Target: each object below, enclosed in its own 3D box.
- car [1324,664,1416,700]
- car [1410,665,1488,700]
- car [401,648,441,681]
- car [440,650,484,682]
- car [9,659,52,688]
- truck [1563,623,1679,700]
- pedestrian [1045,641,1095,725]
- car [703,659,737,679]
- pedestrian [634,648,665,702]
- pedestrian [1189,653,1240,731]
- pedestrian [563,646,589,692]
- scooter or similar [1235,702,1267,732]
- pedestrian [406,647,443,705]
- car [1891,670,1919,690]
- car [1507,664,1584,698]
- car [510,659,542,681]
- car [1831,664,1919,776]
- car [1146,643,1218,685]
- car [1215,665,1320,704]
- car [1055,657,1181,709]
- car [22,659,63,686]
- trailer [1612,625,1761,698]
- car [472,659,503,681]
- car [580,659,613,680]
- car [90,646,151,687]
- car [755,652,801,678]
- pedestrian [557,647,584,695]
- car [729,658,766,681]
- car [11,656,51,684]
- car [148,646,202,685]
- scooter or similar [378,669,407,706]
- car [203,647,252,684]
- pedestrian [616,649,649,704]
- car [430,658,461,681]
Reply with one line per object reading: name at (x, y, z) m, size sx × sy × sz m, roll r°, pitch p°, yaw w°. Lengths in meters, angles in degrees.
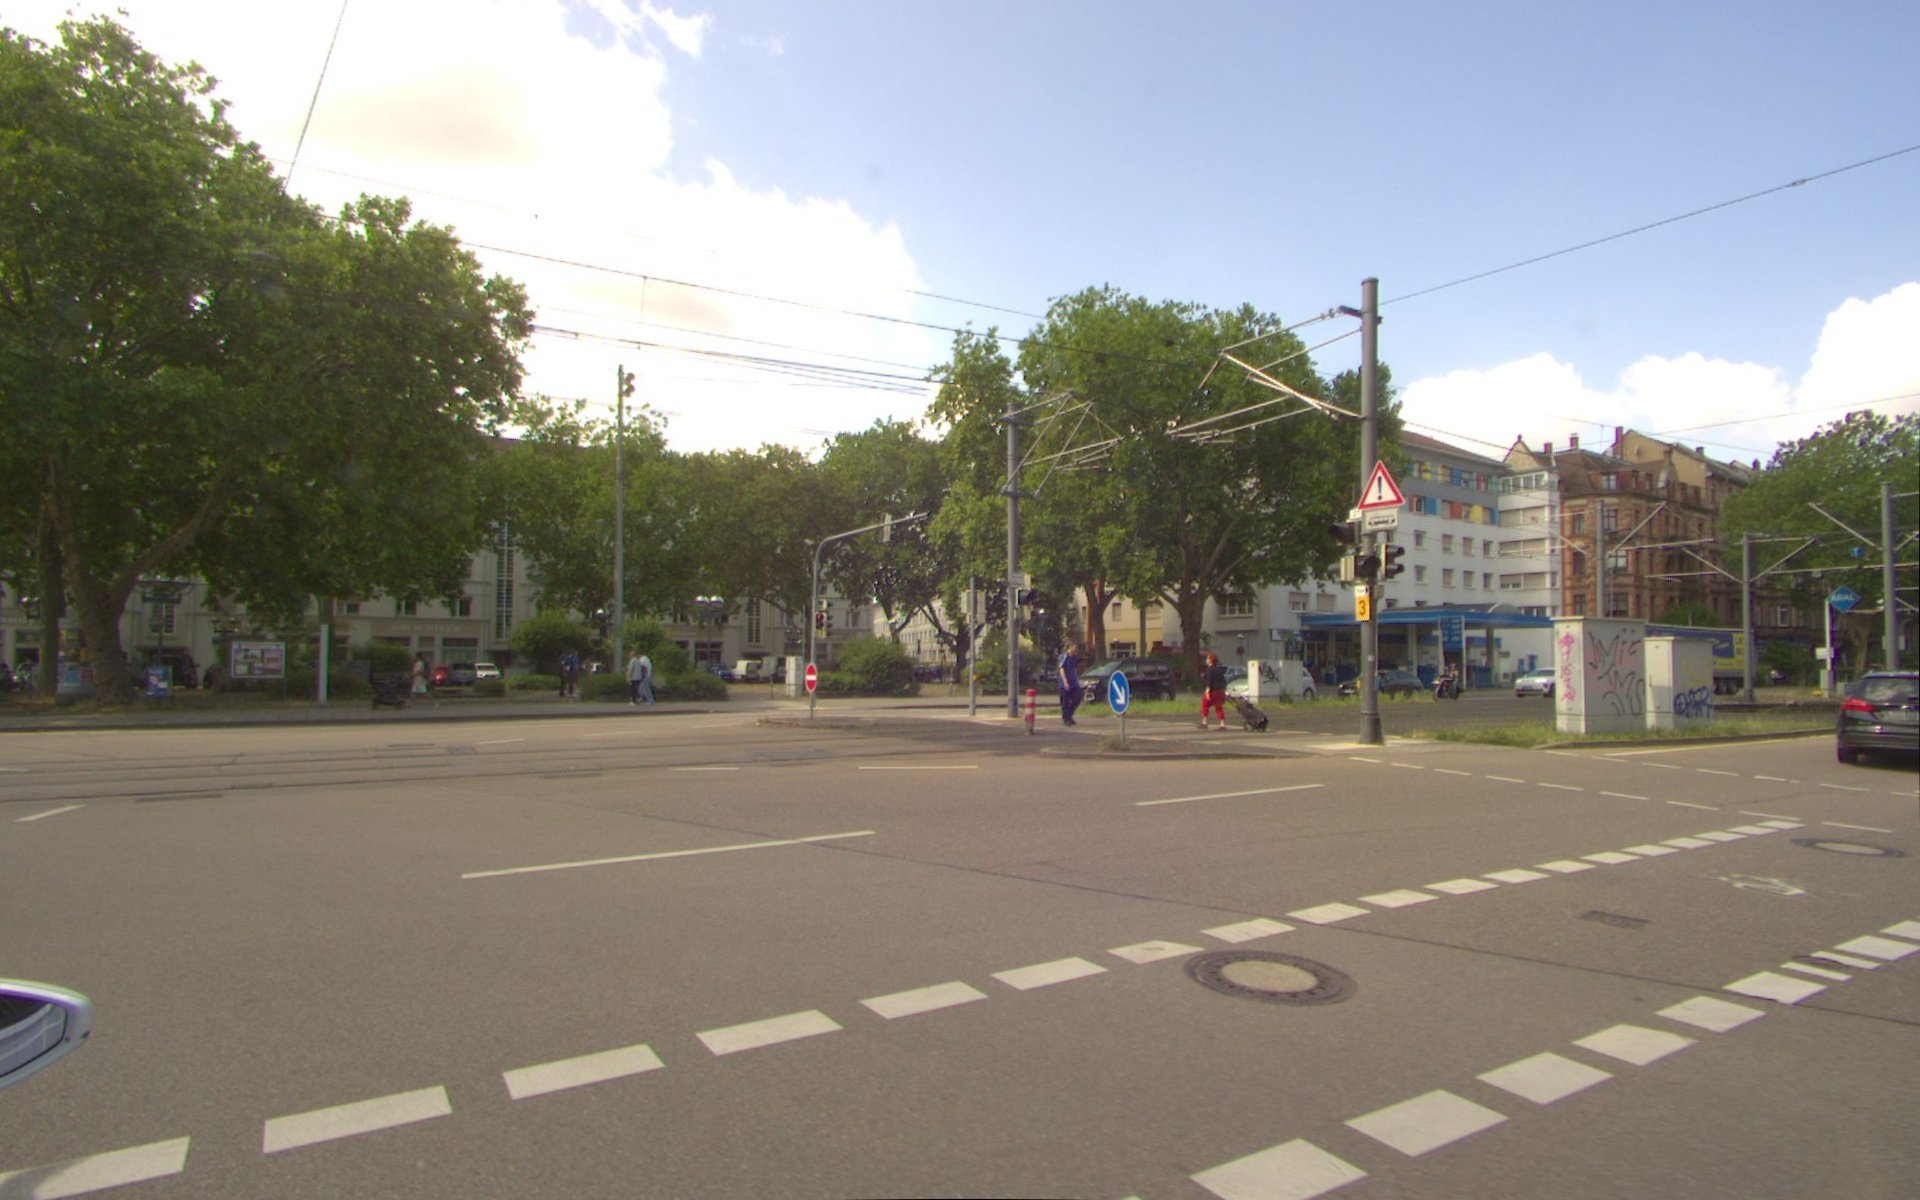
car at (18.100, 3.568, 44.139) m, size 3.920 × 1.464 × 1.845 m, roll 2°, pitch -3°, yaw -32°
car at (23.266, 3.926, 47.636) m, size 3.704 × 1.582 × 1.677 m, roll 3°, pitch -4°, yaw -33°
car at (-34.773, 4.174, 64.536) m, size 1.973 × 2.038 × 3.980 m, roll 2°, pitch -4°, yaw -32°
car at (-32.695, 4.344, 65.685) m, size 1.975 × 2.038 × 3.976 m, roll 2°, pitch -4°, yaw -35°
car at (-46.969, 3.709, 50.647) m, size 1.455 × 1.406 × 3.041 m, roll 3°, pitch -5°, yaw -42°
truck at (38.035, 3.540, 57.572) m, size 6.497 × 4.200 × 2.905 m, roll 2°, pitch -3°, yaw -30°
pedestrian at (2.352, 1.760, 21.427) m, size 0.734 × 1.752 × 0.768 m, roll 2°, pitch -3°, yaw -34°
car at (-20.676, 5.947, 86.245) m, size 1.720 × 1.657 × 3.980 m, roll 2°, pitch -4°, yaw -31°
pedestrian at (-10.359, 2.483, 33.380) m, size 0.683 × 1.786 × 0.667 m, roll -1°, pitch -3°, yaw 33°
pedestrian at (5.137, 1.839, 20.180) m, size 0.768 × 1.510 × 0.652 m, roll -1°, pitch -3°, yaw 44°
pedestrian at (-15.210, 2.732, 39.653) m, size 0.597 × 1.772 × 0.695 m, roll -1°, pitch -3°, yaw 33°
scooter or similar at (5.713, 2.295, 19.649) m, size 0.516 × 0.542 × 0.308 m, roll 0°, pitch -2°, yaw 45°
pedestrian at (-15.749, 2.220, 29.453) m, size 0.910 × 1.666 × 0.567 m, roll 2°, pitch -3°, yaw -32°
car at (79.624, 6.676, 83.624) m, size 3.947 × 1.651 × 1.794 m, roll 2°, pitch -4°, yaw -33°
car at (31.115, 4.302, 53.184) m, size 4.080 × 1.726 × 1.844 m, roll 3°, pitch -4°, yaw -32°
car at (-33.546, 5.372, 77.344) m, size 1.720 × 1.657 × 3.980 m, roll 2°, pitch -4°, yaw -31°
car at (15.240, 1.807, 15.699) m, size 4.339 × 1.554 × 1.770 m, roll 3°, pitch -2°, yaw -40°
car at (13.597, 3.926, 61.313) m, size 3.947 × 2.450 × 2.101 m, roll 2°, pitch -4°, yaw -33°
car at (12.373, 3.367, 40.183) m, size 4.271 × 1.483 × 1.724 m, roll 3°, pitch -4°, yaw -33°
car at (5.671, 2.945, 35.809) m, size 4.360 × 1.748 × 1.844 m, roll 3°, pitch -4°, yaw -32°
car at (-49.441, 3.915, 53.991) m, size 1.454 × 1.406 × 3.210 m, roll 3°, pitch -5°, yaw -40°
trailer at (44.639, 3.786, 61.385) m, size 11.486 × 4.127 × 2.904 m, roll 2°, pitch -4°, yaw -30°
car at (-35.847, 5.279, 75.892) m, size 1.720 × 1.657 × 3.980 m, roll 2°, pitch -4°, yaw -31°
car at (-29.220, 5.569, 80.386) m, size 1.720 × 1.657 × 3.980 m, roll 2°, pitch -4°, yaw -31°
car at (-46.583, 3.693, 55.658) m, size 1.974 × 2.209 × 4.235 m, roll 2°, pitch -4°, yaw -32°
car at (-14.169, 5.026, 77.797) m, size 2.075 × 1.928 × 4.469 m, roll 2°, pitch -4°, yaw -31°
pedestrian at (-14.749, 2.689, 37.940) m, size 0.597 × 1.772 × 0.695 m, roll -1°, pitch -3°, yaw 33°
car at (-18.588, 6.056, 87.592) m, size 1.973 × 1.988 × 3.980 m, roll 2°, pitch -4°, yaw -31°
car at (-57.475, 4.336, 61.977) m, size 1.453 × 1.686 × 3.046 m, roll 3°, pitch -4°, yaw -37°
car at (-44.808, 3.747, 57.232) m, size 1.974 × 2.101 × 3.979 m, roll 2°, pitch -4°, yaw -32°
scooter or similar at (-16.440, 2.528, 29.012) m, size 0.699 × 1.069 × 0.488 m, roll 2°, pitch -3°, yaw -32°
car at (-42.580, 3.816, 58.291) m, size 1.974 × 2.101 × 3.979 m, roll 2°, pitch -4°, yaw -32°
pedestrian at (-10.670, 2.480, 32.652) m, size 0.683 × 1.744 × 0.716 m, roll -1°, pitch -3°, yaw 33°
car at (-38.236, 5.182, 74.394) m, size 1.720 × 1.657 × 3.980 m, roll 2°, pitch -4°, yaw -31°
